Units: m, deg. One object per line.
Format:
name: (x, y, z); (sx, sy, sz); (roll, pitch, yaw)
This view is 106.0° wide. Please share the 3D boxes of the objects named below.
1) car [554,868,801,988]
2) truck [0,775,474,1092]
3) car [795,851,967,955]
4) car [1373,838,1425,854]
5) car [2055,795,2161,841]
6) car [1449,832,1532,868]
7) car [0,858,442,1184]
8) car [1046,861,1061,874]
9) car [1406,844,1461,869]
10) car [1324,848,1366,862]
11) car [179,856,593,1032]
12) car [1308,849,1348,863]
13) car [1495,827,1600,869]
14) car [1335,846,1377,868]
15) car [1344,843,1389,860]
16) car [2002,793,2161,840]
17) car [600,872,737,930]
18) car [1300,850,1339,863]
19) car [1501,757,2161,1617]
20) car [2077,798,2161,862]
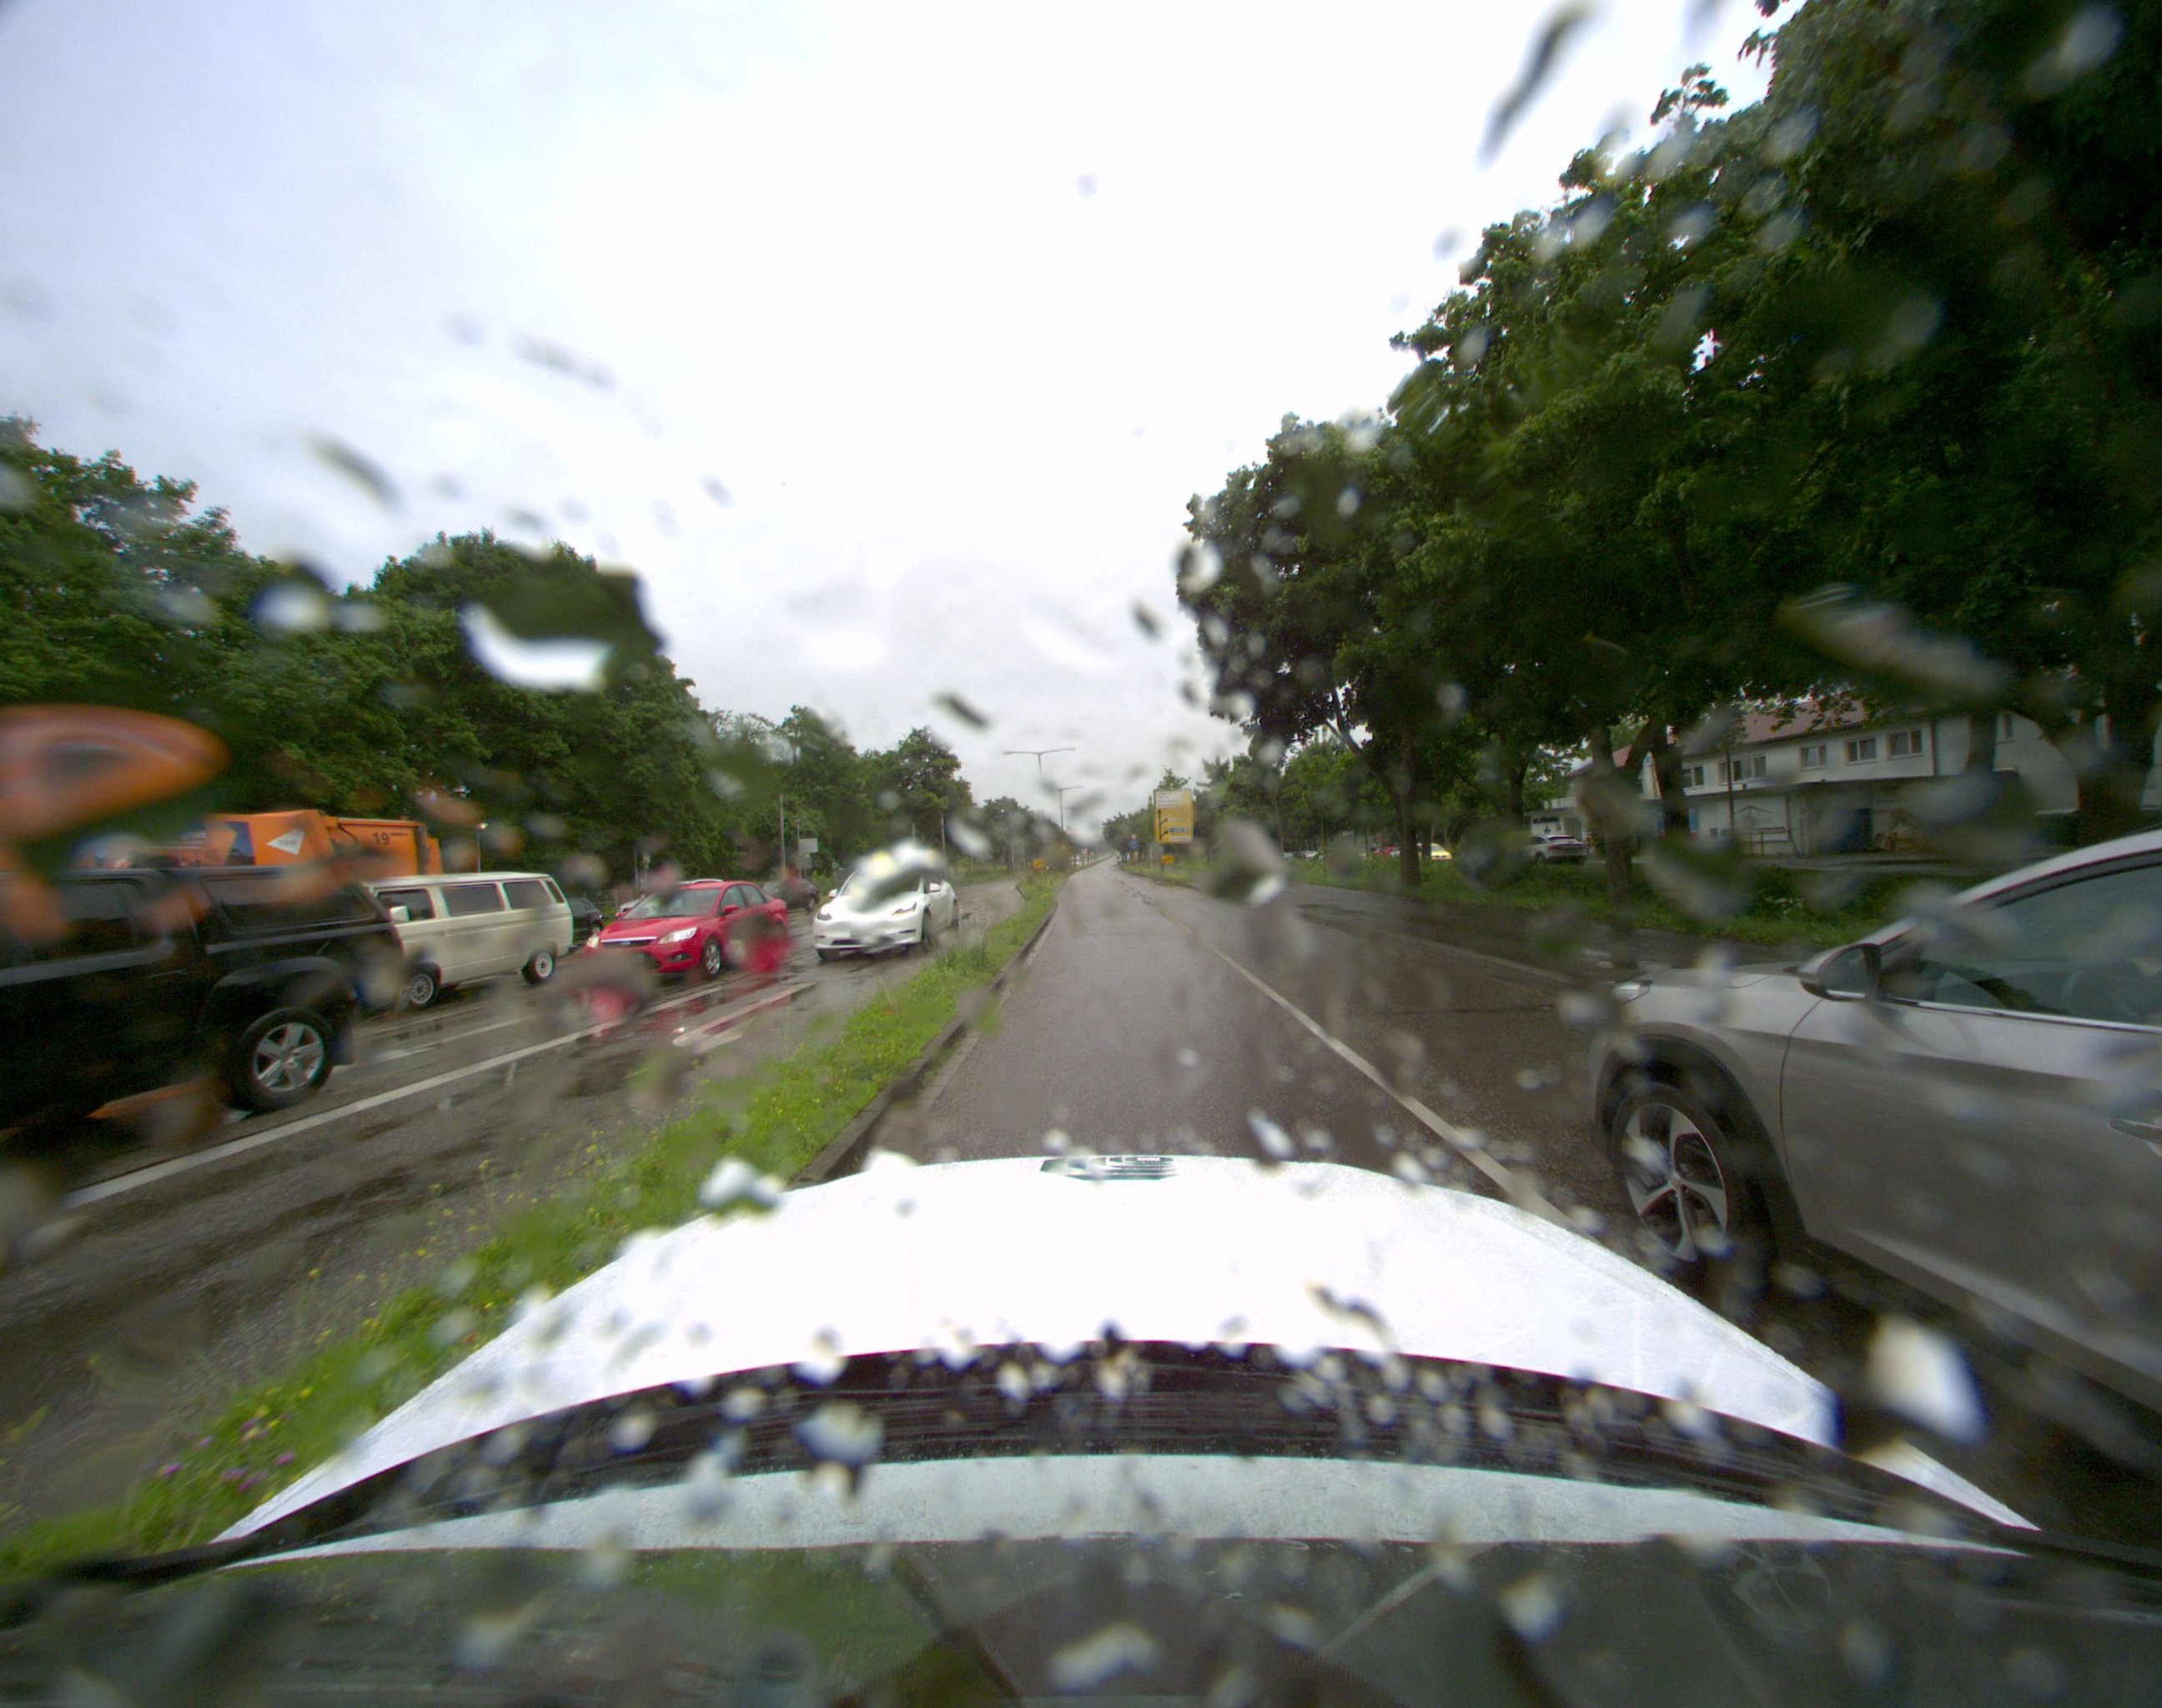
car: (-6.484, 1.094, 13.757); (1.795, 1.569, 4.429); (-4, -1, 1)
truck: (-15.842, 1.116, 13.540); (3.372, 4.168, 10.411); (-1, -1, 2)
car: (-3.636, 0.817, 15.781); (1.954, 1.617, 4.699); (-3, 0, 2)
car: (30.905, -0.789, 79.245); (4.323, 1.484, 1.944); (-1, -1, -2)
car: (35.602, -1.212, 27.100); (1.578, 1.385, 3.999); (-1, -1, 0)
car: (21.648, -0.150, 43.289); (1.987, 1.717, 4.640); (-3, -1, 0)
car: (-6.802, 0.972, 4.821); (1.799, 1.773, 5.091); (-4, -1, 2)
car: (-3.885, 1.915, 114.446); (1.737, 1.650, 4.137); (-5, 0, 1)
car: (21.930, 0.184, 50.784); (1.632, 1.486, 4.072); (-1, -1, 0)
car: (32.624, 0.144, 100.657); (4.548, 1.558, 1.948); (-1, -1, 5)
car: (-9.848, 1.097, 12.235); (1.921, 2.018, 4.745); (-3, 0, 2)
car: (32.157, 0.245, 106.146); (4.558, 1.705, 1.998); (-1, -1, -2)
car: (21.487, -0.239, 37.790); (1.987, 1.717, 4.877); (-3, -1, 0)
car: (22.727, 0.274, 67.481); (1.986, 1.625, 4.644); (-3, -1, 2)
car: (32.107, -0.275, 91.666); (4.323, 1.725, 1.944); (-1, -1, -2)
car: (33.564, -1.209, 27.127); (1.567, 1.316, 3.700); (-1, -1, -1)
car: (-14.559, 1.595, 29.094); (1.983, 1.827, 4.781); (-1, -1, 7)
car: (31.845, 0.298, 108.952); (4.560, 1.645, 1.997); (-1, -1, -4)
car: (2.941, 0.599, 1.713); (1.879, 1.610, 4.193); (-2, 0, -1)
car: (24.064, -0.514, 18.486); (3.408, 1.352, 1.506); (0, -1, -44)
